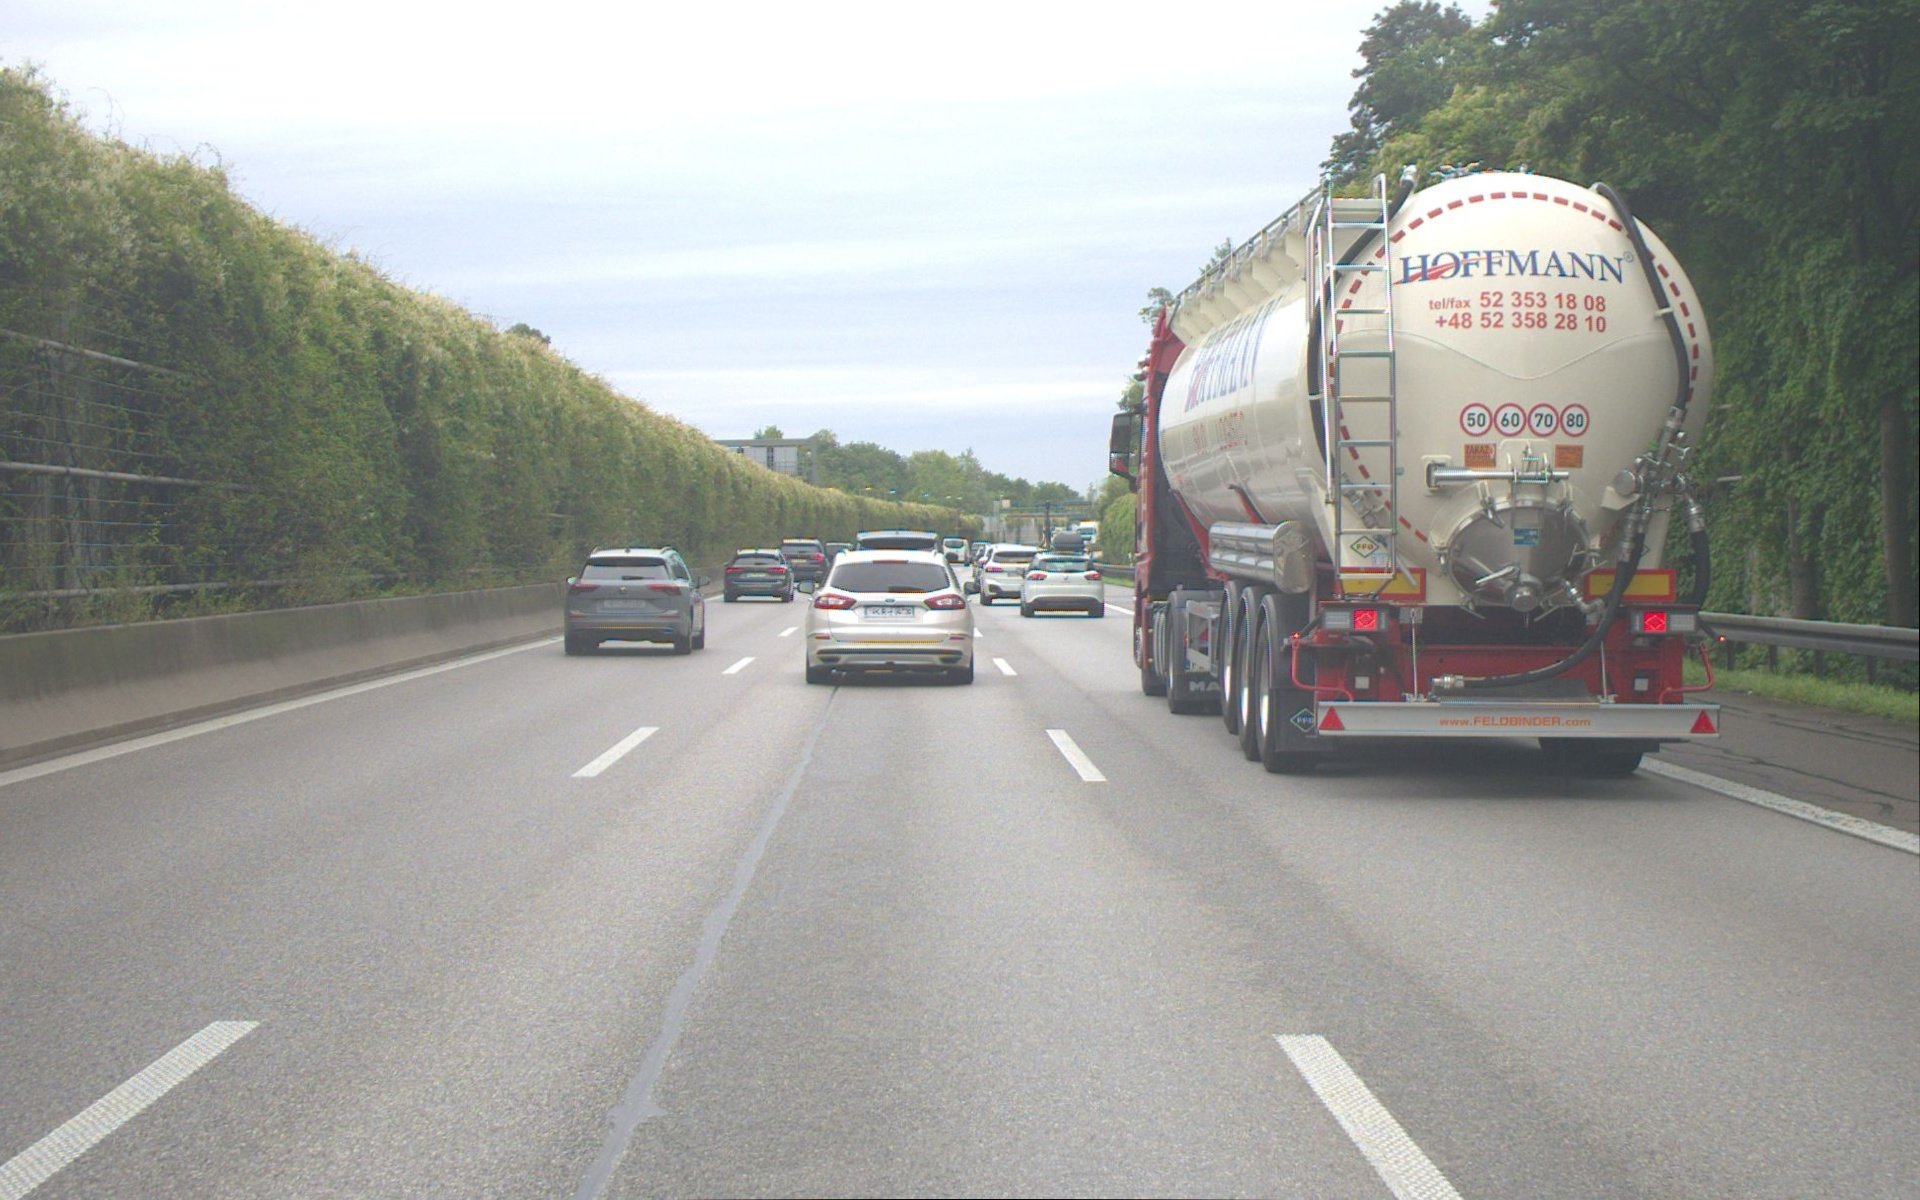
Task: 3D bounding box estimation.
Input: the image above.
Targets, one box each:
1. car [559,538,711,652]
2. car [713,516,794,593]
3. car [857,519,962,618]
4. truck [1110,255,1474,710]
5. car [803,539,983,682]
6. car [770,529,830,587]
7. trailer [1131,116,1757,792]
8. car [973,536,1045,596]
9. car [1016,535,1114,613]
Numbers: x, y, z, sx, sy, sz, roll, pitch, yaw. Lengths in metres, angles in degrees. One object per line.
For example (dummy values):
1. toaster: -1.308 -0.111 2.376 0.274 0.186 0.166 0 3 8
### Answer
1. car: -4.533 -0.105 48.530 1.720 1.507 5.030 1 1 -1
2. car: -5.564 -1.244 93.160 1.993 2.007 3.841 0 1 -1
3. car: -0.894 -0.590 60.985 1.689 1.501 3.872 4 2 -1
4. truck: 3.015 -1.048 33.015 2.695 3.899 6.557 1 1 -1
5. car: -0.765 0.073 38.840 1.891 1.499 5.030 1 1 -1
6. car: -5.687 -1.512 122.424 1.993 2.007 4.000 0 1 -1
7. trailer: 3.154 -0.921 26.609 2.668 3.925 13.131 0 1 -1
8. car: 1.272 -0.895 90.420 1.689 1.501 3.872 1 1 -2
9. car: 2.256 -0.590 75.097 1.816 1.620 5.030 1 1 -2
